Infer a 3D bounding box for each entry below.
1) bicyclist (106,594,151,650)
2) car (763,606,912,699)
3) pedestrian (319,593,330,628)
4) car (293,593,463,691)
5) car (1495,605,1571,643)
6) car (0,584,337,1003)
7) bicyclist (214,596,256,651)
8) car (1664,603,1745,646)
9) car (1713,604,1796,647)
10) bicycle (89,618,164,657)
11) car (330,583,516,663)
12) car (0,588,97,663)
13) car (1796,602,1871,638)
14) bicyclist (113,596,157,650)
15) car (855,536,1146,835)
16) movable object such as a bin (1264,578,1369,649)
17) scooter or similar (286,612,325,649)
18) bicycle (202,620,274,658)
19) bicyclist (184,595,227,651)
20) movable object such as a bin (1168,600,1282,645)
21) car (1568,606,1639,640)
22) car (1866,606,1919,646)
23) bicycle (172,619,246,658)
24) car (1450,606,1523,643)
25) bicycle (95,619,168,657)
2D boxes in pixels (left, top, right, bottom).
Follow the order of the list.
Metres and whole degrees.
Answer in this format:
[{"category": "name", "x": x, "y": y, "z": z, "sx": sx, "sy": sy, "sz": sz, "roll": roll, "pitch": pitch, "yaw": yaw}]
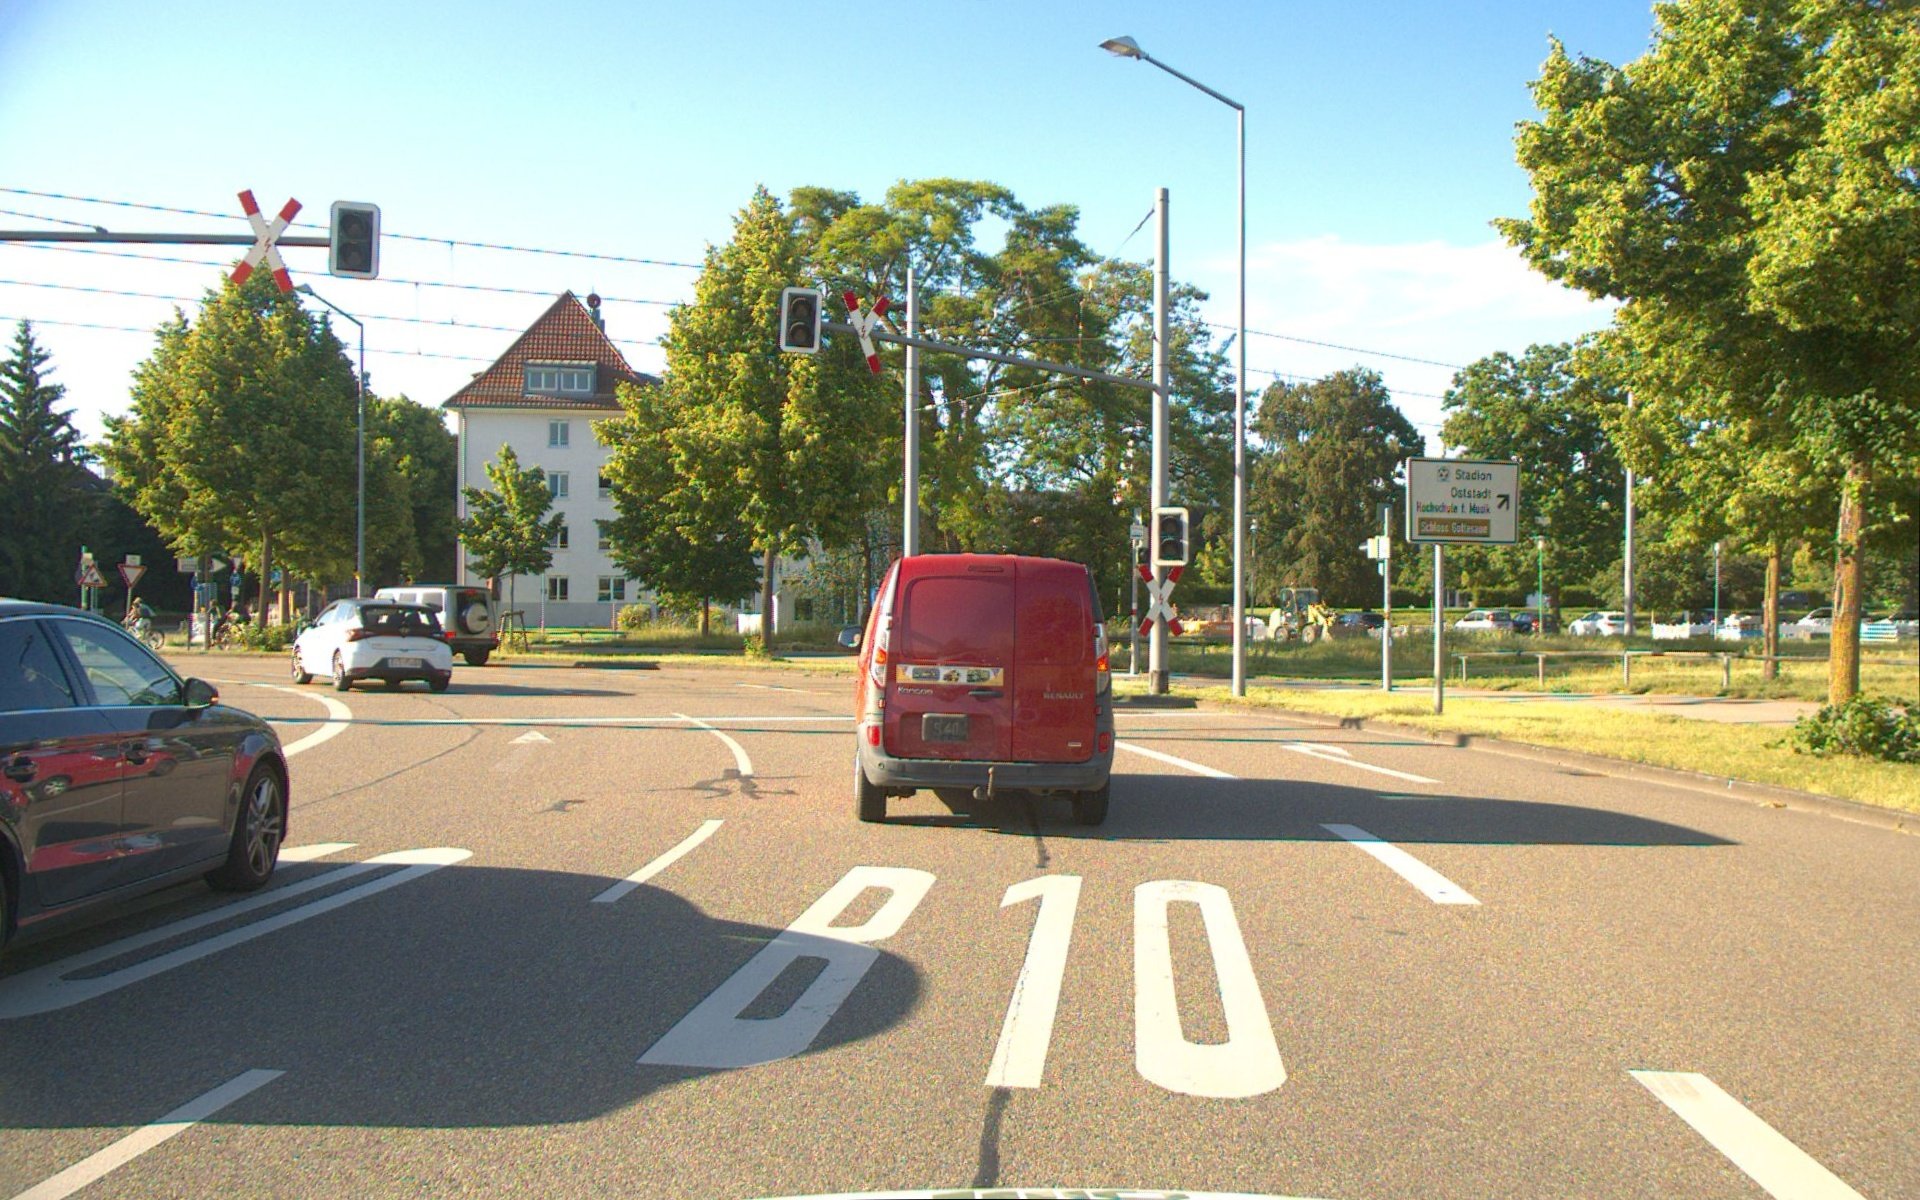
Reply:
[{"category": "bicyclist", "x": -28.669, "y": 0.765, "z": 57.025, "sx": 1.001, "sy": 1.885, "sz": 0.885, "roll": 0, "pitch": -2, "yaw": 8}, {"category": "car", "x": -2.180, "y": 0.848, "z": 28.346, "sx": 1.686, "sy": 1.461, "sz": 4.132, "roll": 1, "pitch": -1, "yaw": -17}, {"category": "pedestrian", "x": -37.132, "y": 0.633, "z": 96.613, "sx": 0.460, "sy": 2.049, "sz": 0.455, "roll": 0, "pitch": -1, "yaw": 0}, {"category": "car", "x": -9.673, "y": 0.679, "z": 27.336, "sx": 1.786, "sy": 1.487, "sz": 3.765, "roll": 2, "pitch": -2, "yaw": -33}, {"category": "car", "x": 28.934, "y": 1.255, "z": 83.648, "sx": 1.957, "sy": 1.800, "sz": 3.991, "roll": 1, "pitch": -2, "yaw": -9}, {"category": "car", "x": -4.109, "y": 0.644, "z": 6.576, "sx": 1.725, "sy": 1.404, "sz": 4.357, "roll": 0, "pitch": 0, "yaw": -2}, {"category": "bicyclist", "x": -25.256, "y": 0.836, "z": 57.651, "sx": 1.001, "sy": 1.885, "sz": 0.813, "roll": 0, "pitch": -2, "yaw": 8}, {"category": "car", "x": 38.296, "y": 1.283, "z": 85.156, "sx": 1.957, "sy": 2.137, "sz": 3.991, "roll": 1, "pitch": -2, "yaw": -9}, {"category": "car", "x": 41.122, "y": 1.344, "z": 85.708, "sx": 1.957, "sy": 2.137, "sz": 3.991, "roll": 1, "pitch": -2, "yaw": -9}, {"category": "bicycle", "x": -28.727, "y": 1.301, "z": 56.996, "sx": 2.155, "sy": 1.288, "sz": 0.885, "roll": 0, "pitch": -2, "yaw": 8}, {"category": "car", "x": -13.651, "y": 0.592, "z": 41.993, "sx": 4.651, "sy": 1.930, "sz": 1.998, "roll": -1, "pitch": -1, "yaw": 32}, {"category": "car", "x": -21.773, "y": 0.537, "z": 37.014, "sx": 4.303, "sy": 1.602, "sz": 2.000, "roll": 0, "pitch": 0, "yaw": 21}, {"category": "car", "x": 45.738, "y": 1.067, "z": 86.690, "sx": 1.656, "sy": 1.811, "sz": 3.842, "roll": 1, "pitch": -2, "yaw": -6}, {"category": "bicyclist", "x": -29.040, "y": 0.807, "z": 58.242, "sx": 1.001, "sy": 1.885, "sz": 0.885, "roll": 0, "pitch": -2, "yaw": 8}, {"category": "car", "x": 0.139, "y": 0.529, "z": 12.342, "sx": 1.767, "sy": 1.845, "sz": 3.806, "roll": 2, "pitch": 0, "yaw": -4}, {"category": "movable object such as a bin", "x": 14.825, "y": 0.618, "z": 69.149, "sx": 1.964, "sy": 2.838, "sz": 5.018, "roll": 2, "pitch": -2, "yaw": -20}, {"category": "scooter or similar", "x": -22.877, "y": 1.071, "z": 57.822, "sx": 1.234, "sy": 1.270, "sz": 0.445, "roll": -1, "pitch": -3, "yaw": 13}, {"category": "bicycle", "x": -25.146, "y": 1.373, "z": 57.600, "sx": 2.155, "sy": 1.288, "sz": 0.819, "roll": 0, "pitch": -2, "yaw": 8}, {"category": "bicyclist", "x": -25.809, "y": 0.788, "z": 56.580, "sx": 1.001, "sy": 1.885, "sz": 0.813, "roll": 0, "pitch": -2, "yaw": 8}, {"category": "movable object such as a bin", "x": 12.594, "y": 1.109, "z": 78.677, "sx": 4.926, "sy": 1.982, "sz": 2.229, "roll": 1, "pitch": -2, "yaw": -17}, {"category": "car", "x": 32.807, "y": 1.187, "z": 84.419, "sx": 1.793, "sy": 1.583, "sz": 3.800, "roll": 1, "pitch": -2, "yaw": -7}, {"category": "car", "x": 50.269, "y": 1.398, "z": 87.617, "sx": 1.957, "sy": 1.994, "sz": 3.991, "roll": 1, "pitch": -2, "yaw": -9}, {"category": "bicycle", "x": -25.661, "y": 1.326, "z": 56.547, "sx": 2.155, "sy": 1.288, "sz": 0.819, "roll": 0, "pitch": -2, "yaw": 8}, {"category": "car", "x": 26.618, "y": 1.258, "z": 83.768, "sx": 1.957, "sy": 1.754, "sz": 3.991, "roll": 1, "pitch": -2, "yaw": -9}, {"category": "bicycle", "x": -29.162, "y": 1.342, "z": 58.230, "sx": 2.155, "sy": 1.288, "sz": 0.885, "roll": 0, "pitch": -2, "yaw": 8}]
